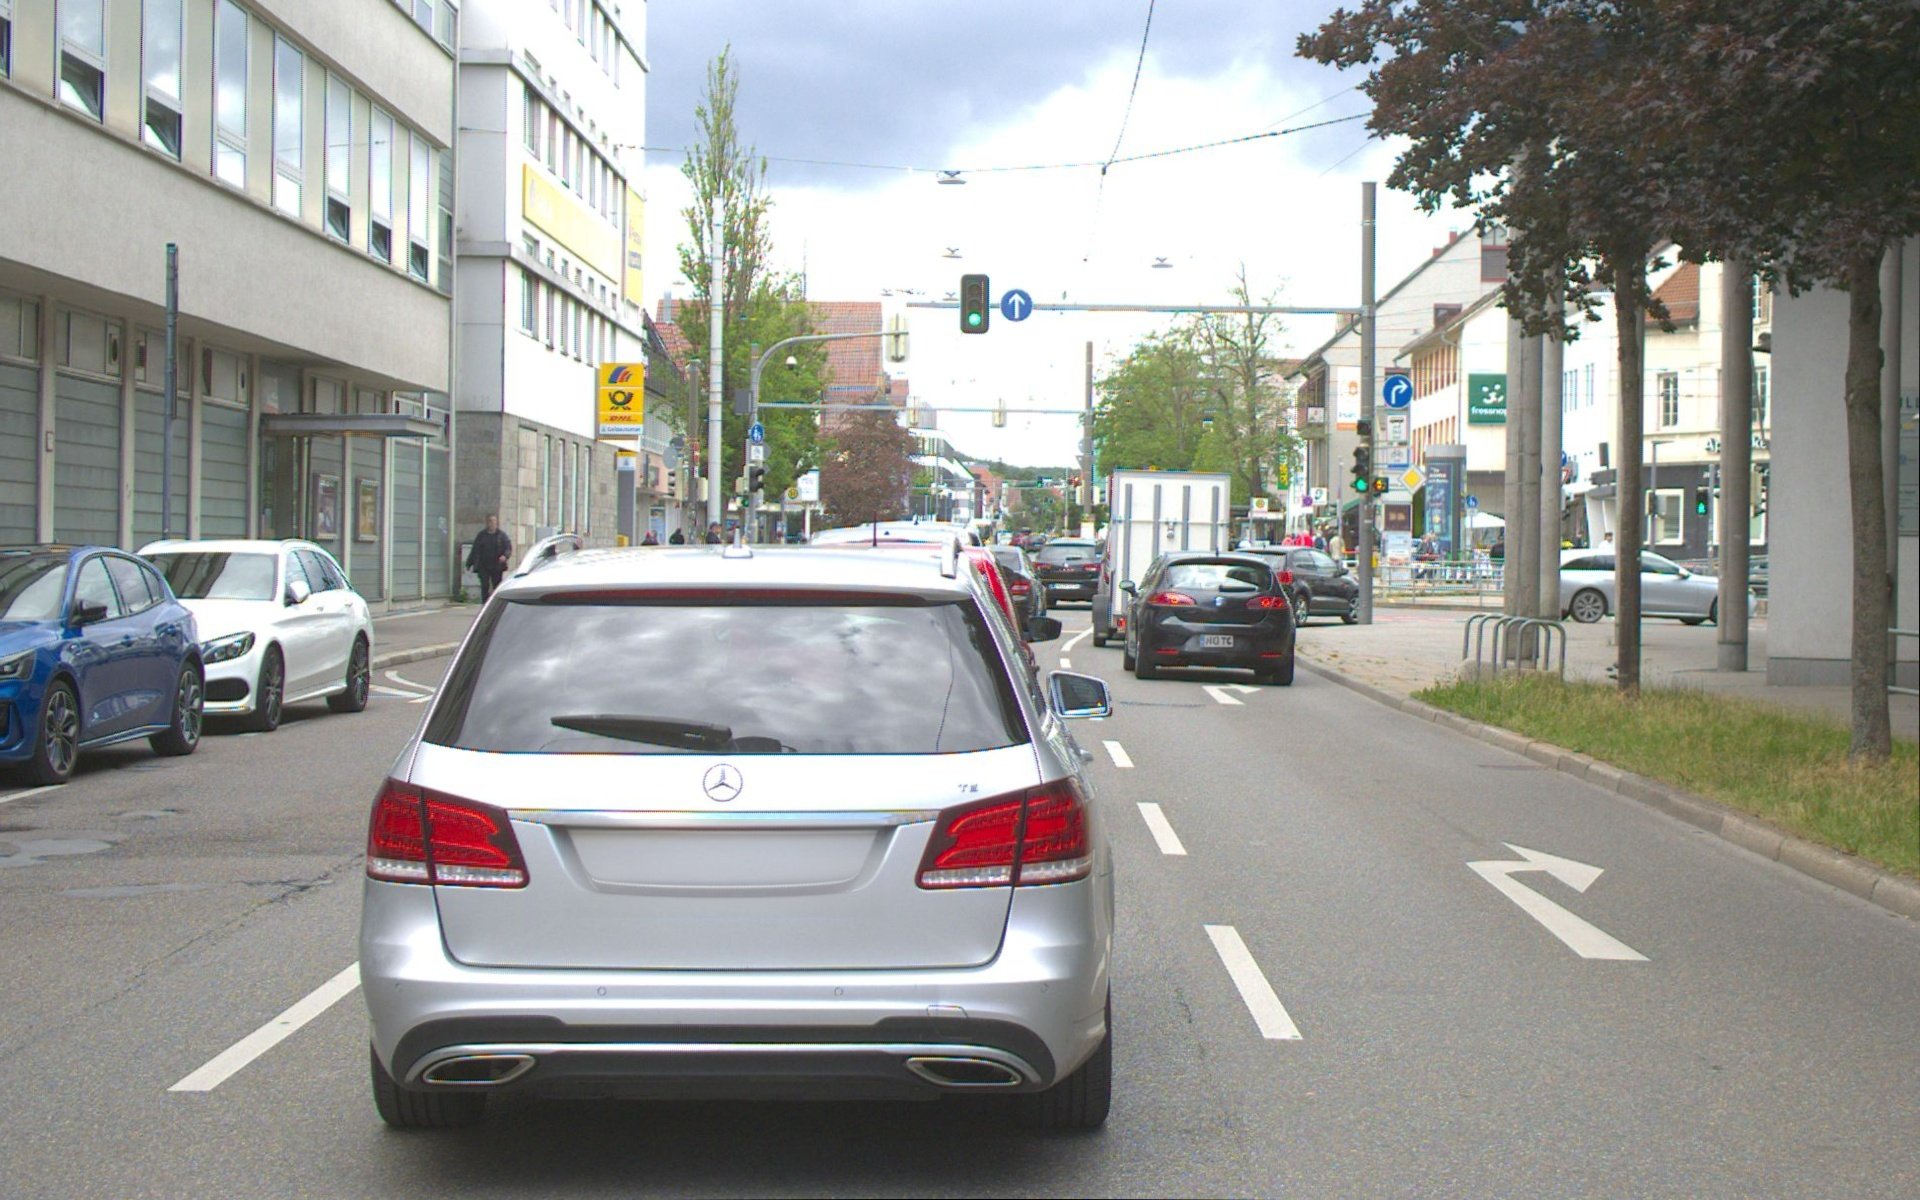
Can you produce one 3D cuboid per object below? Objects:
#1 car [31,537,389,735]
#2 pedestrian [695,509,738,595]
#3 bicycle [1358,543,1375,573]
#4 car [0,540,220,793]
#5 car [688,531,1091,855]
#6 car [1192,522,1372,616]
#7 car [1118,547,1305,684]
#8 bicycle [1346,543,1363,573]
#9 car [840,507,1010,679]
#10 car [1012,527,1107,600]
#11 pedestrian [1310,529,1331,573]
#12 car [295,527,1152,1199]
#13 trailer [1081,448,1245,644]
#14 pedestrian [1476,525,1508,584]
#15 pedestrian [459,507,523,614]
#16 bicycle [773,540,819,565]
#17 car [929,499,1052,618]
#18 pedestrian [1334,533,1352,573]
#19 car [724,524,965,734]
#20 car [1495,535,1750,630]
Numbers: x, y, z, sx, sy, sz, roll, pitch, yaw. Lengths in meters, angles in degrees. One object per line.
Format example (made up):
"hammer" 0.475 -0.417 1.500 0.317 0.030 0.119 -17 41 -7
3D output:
"car" -5.915 0.225 27.666 1.670 1.429 4.552 -1 1 3
"pedestrian" -4.929 -0.981 69.583 0.648 1.712 0.782 2 1 8
"bicycle" 15.019 -1.555 126.977 0.448 1.103 2.149 1 1 2
"car" -6.146 0.352 21.734 1.815 1.421 4.264 -1 1 3
"car" -0.262 0.399 18.235 1.734 1.503 4.000 1 1 5
"car" 5.955 -0.587 63.250 1.926 1.664 3.792 1 1 29
"car" 2.788 0.135 38.860 1.734 1.406 4.001 0 2 -1
"bicycle" 14.570 -1.553 126.990 0.448 1.087 2.149 1 1 2
"car" -0.399 -0.115 37.401 1.734 1.753 4.000 1 1 -1
"car" 2.008 -0.762 70.209 1.734 1.406 4.001 0 2 -1
"pedestrian" 13.851 -1.876 132.003 0.577 1.661 0.651 2 1 -9
"car" -0.553 0.558 9.544 1.845 1.503 4.171 1 1 -1
"trailer" 2.872 -0.787 49.478 1.877 2.604 4.323 3 1 -1
"pedestrian" 15.611 -1.338 100.870 0.649 1.712 0.703 1 1 40
"pedestrian" -7.671 -0.653 56.229 0.861 1.712 1.032 2 1 -1
"bicycle" -7.296 -2.102 152.928 1.937 1.025 0.530 2 1 -8
"car" 0.450 -0.667 54.037 1.828 1.779 4.000 1 1 -1
"pedestrian" 14.366 -1.755 128.961 0.578 1.464 0.651 2 1 4
"car" -0.873 0.167 26.887 1.734 1.503 4.000 1 1 -1
"car" 13.061 -0.350 67.838 4.543 1.600 1.740 3 1 -14
